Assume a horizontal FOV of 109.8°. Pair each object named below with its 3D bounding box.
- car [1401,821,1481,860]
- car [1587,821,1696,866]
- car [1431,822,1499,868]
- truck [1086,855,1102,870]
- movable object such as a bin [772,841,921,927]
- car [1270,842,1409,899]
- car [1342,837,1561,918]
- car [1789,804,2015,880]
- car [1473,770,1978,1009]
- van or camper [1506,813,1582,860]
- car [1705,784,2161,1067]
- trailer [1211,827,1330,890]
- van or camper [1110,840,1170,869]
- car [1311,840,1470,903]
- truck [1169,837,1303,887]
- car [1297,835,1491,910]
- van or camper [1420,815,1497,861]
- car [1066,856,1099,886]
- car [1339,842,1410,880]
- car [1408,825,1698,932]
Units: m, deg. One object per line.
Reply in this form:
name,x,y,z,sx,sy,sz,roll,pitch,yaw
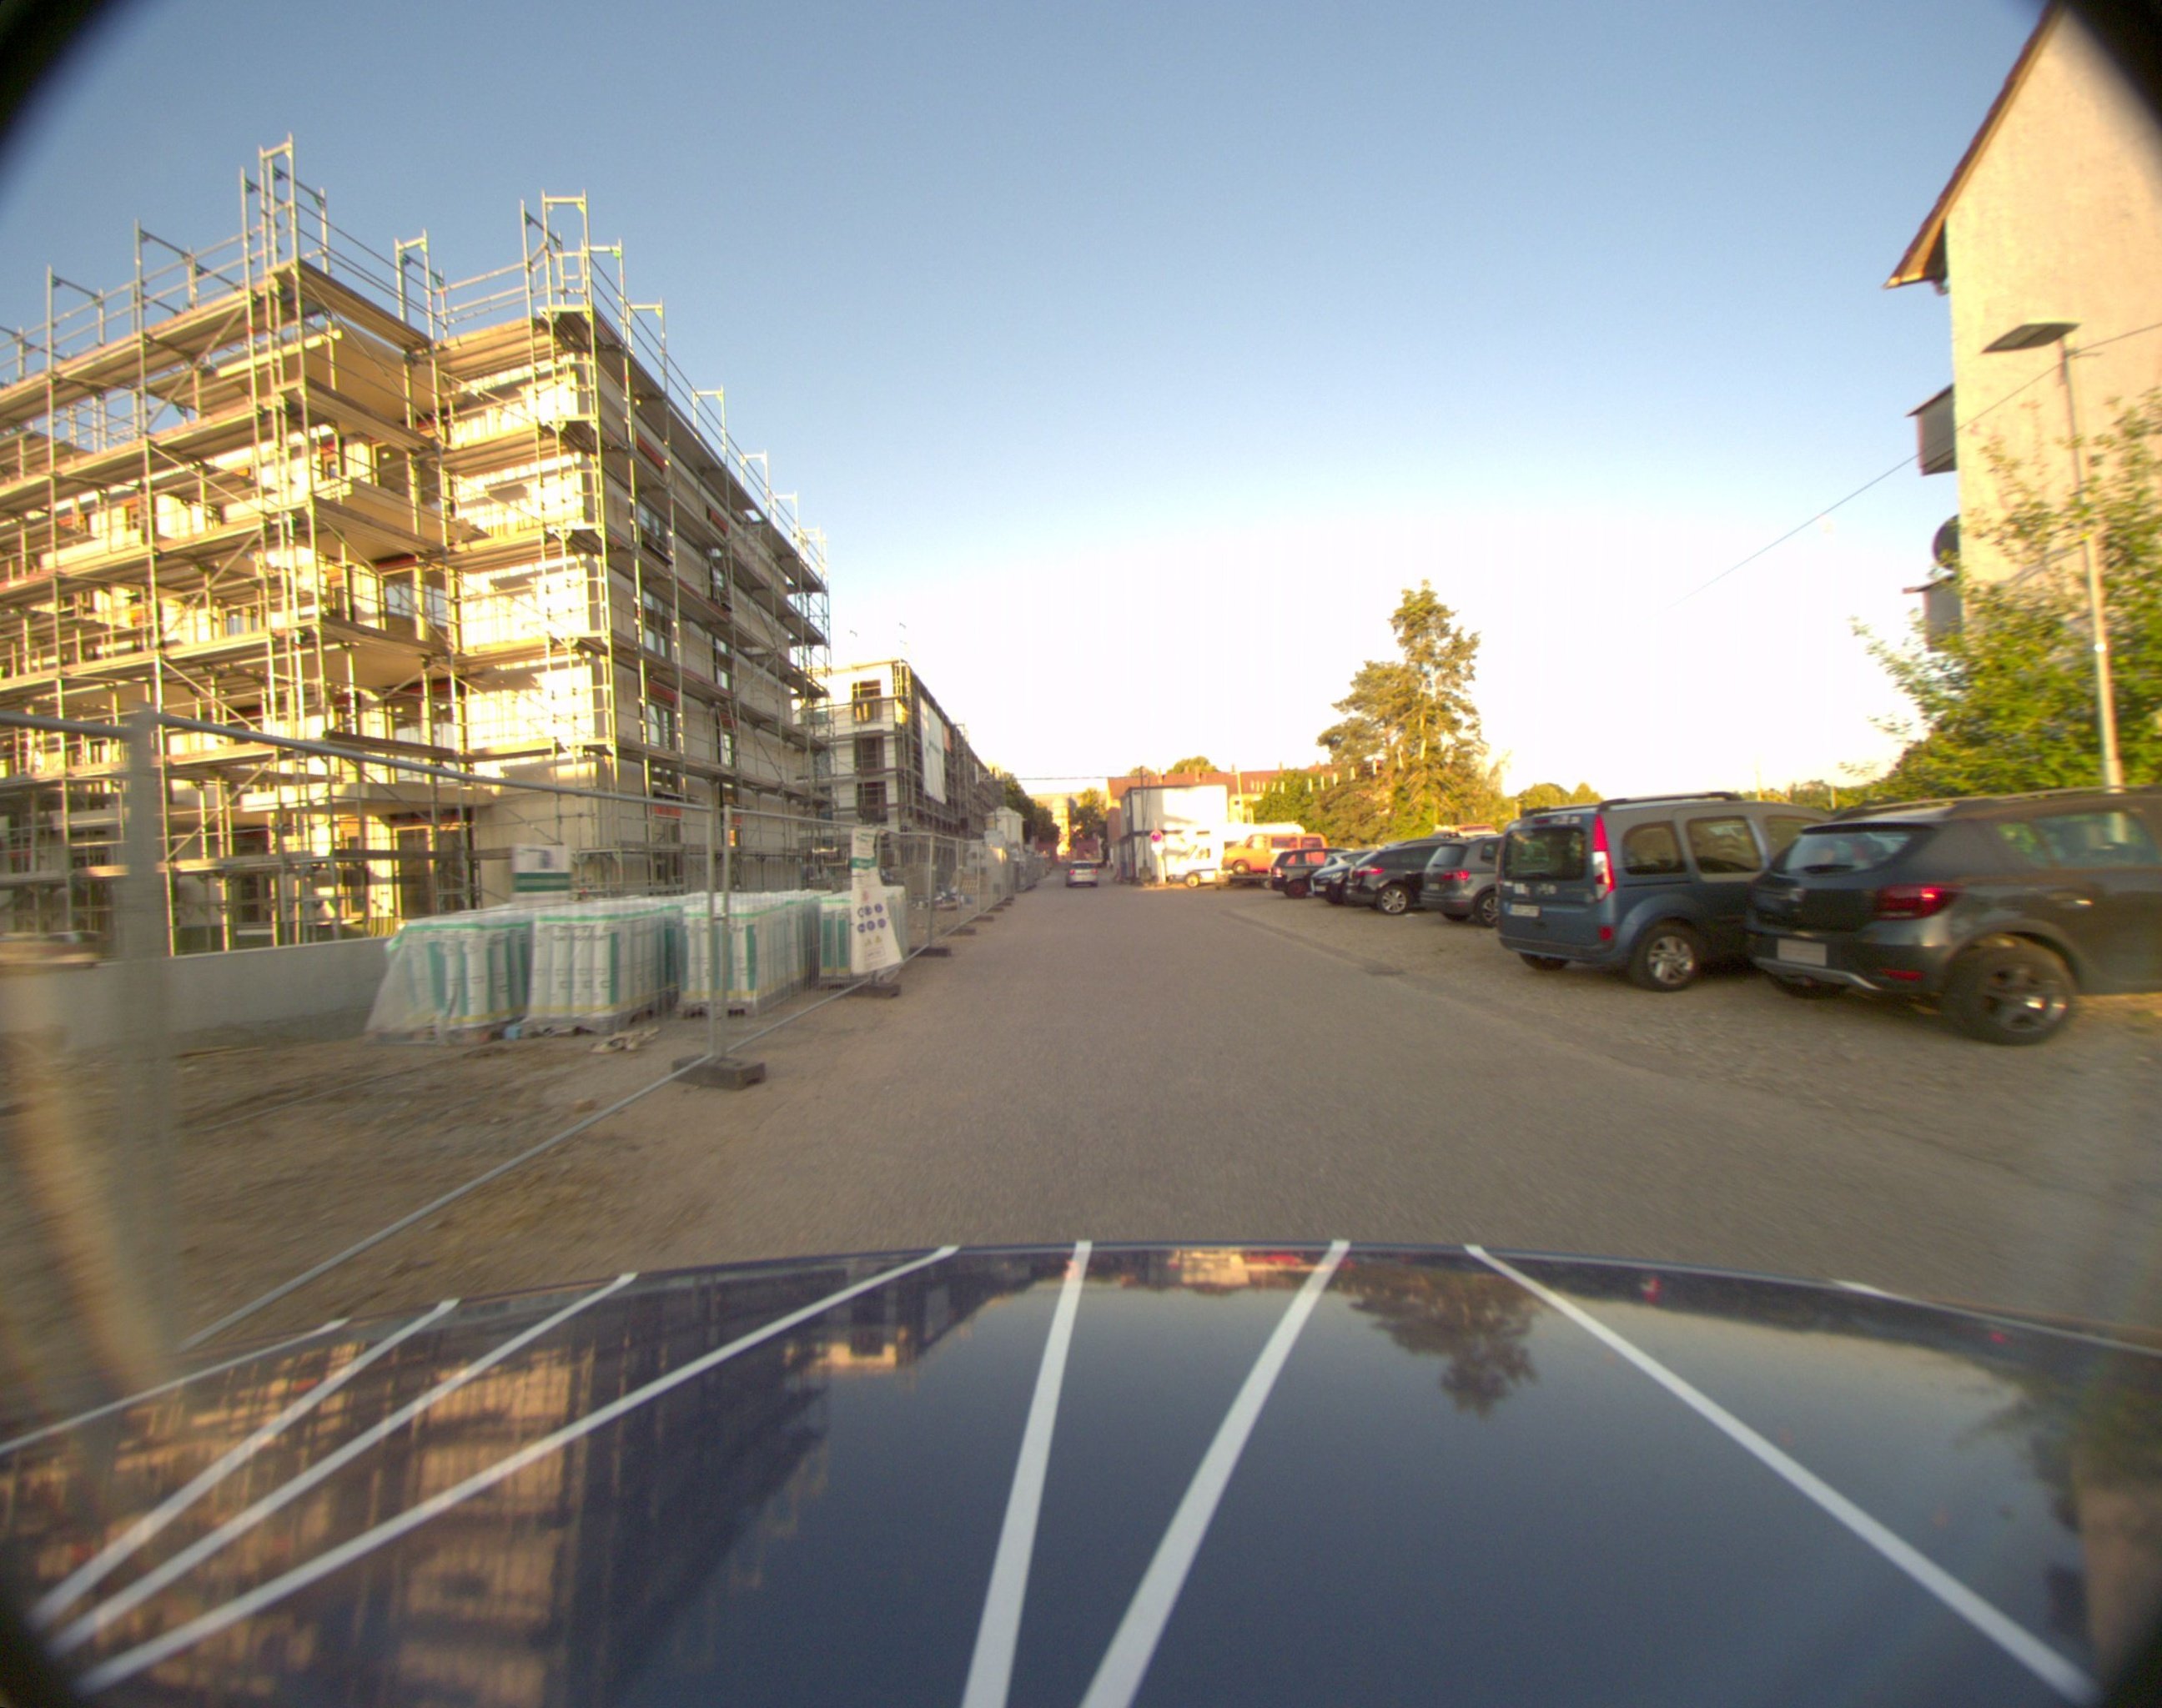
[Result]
car,15.615,-0.558,33.198,1.847,1.514,3.939,-3,0,5
car,23.228,-0.439,31.667,1.847,1.659,3.939,-3,0,5
car,20.028,-0.399,39.825,1.846,2.135,4.827,-3,-2,11
truck,1.990,1.267,116.303,1.842,2.089,3.738,-5,1,-7
movable object such as a bin,-7.229,0.816,24.777,2.070,2.260,8.368,-2,0,1
car,8.407,0.530,25.045,4.044,1.610,1.850,-3,0,9
car,7.893,0.487,16.513,3.933,1.508,1.644,-3,1,9
car,20.360,-0.291,19.162,1.846,1.621,4.321,-3,0,15
car,6.536,0.307,7.939,3.938,1.900,1.747,-5,0,-8
van or camper,28.923,-1.070,47.705,2.206,2.692,5.752,-3,0,12
car,7.267,0.373,5.430,3.933,1.642,1.749,-5,0,8
trailer,8.394,0.172,34.006,4.802,2.419,2.134,-4,2,6
van or camper,6.639,0.063,85.824,6.470,2.625,2.407,-5,0,1
car,8.975,0.512,22.346,3.933,1.511,1.810,-4,-1,9
truck,7.424,0.372,36.960,6.025,2.031,2.356,-3,0,3
car,7.773,0.470,19.166,4.099,1.618,1.821,-3,-1,2
van or camper,24.836,-1.015,50.330,2.261,2.754,5.800,-3,0,2
car,0.041,0.973,44.857,1.675,1.610,4.284,-3,0,-3
car,12.900,0.272,33.656,1.847,1.514,3.939,-3,0,5
car,8.062,0.425,13.301,3.933,1.571,1.644,-3,0,7
